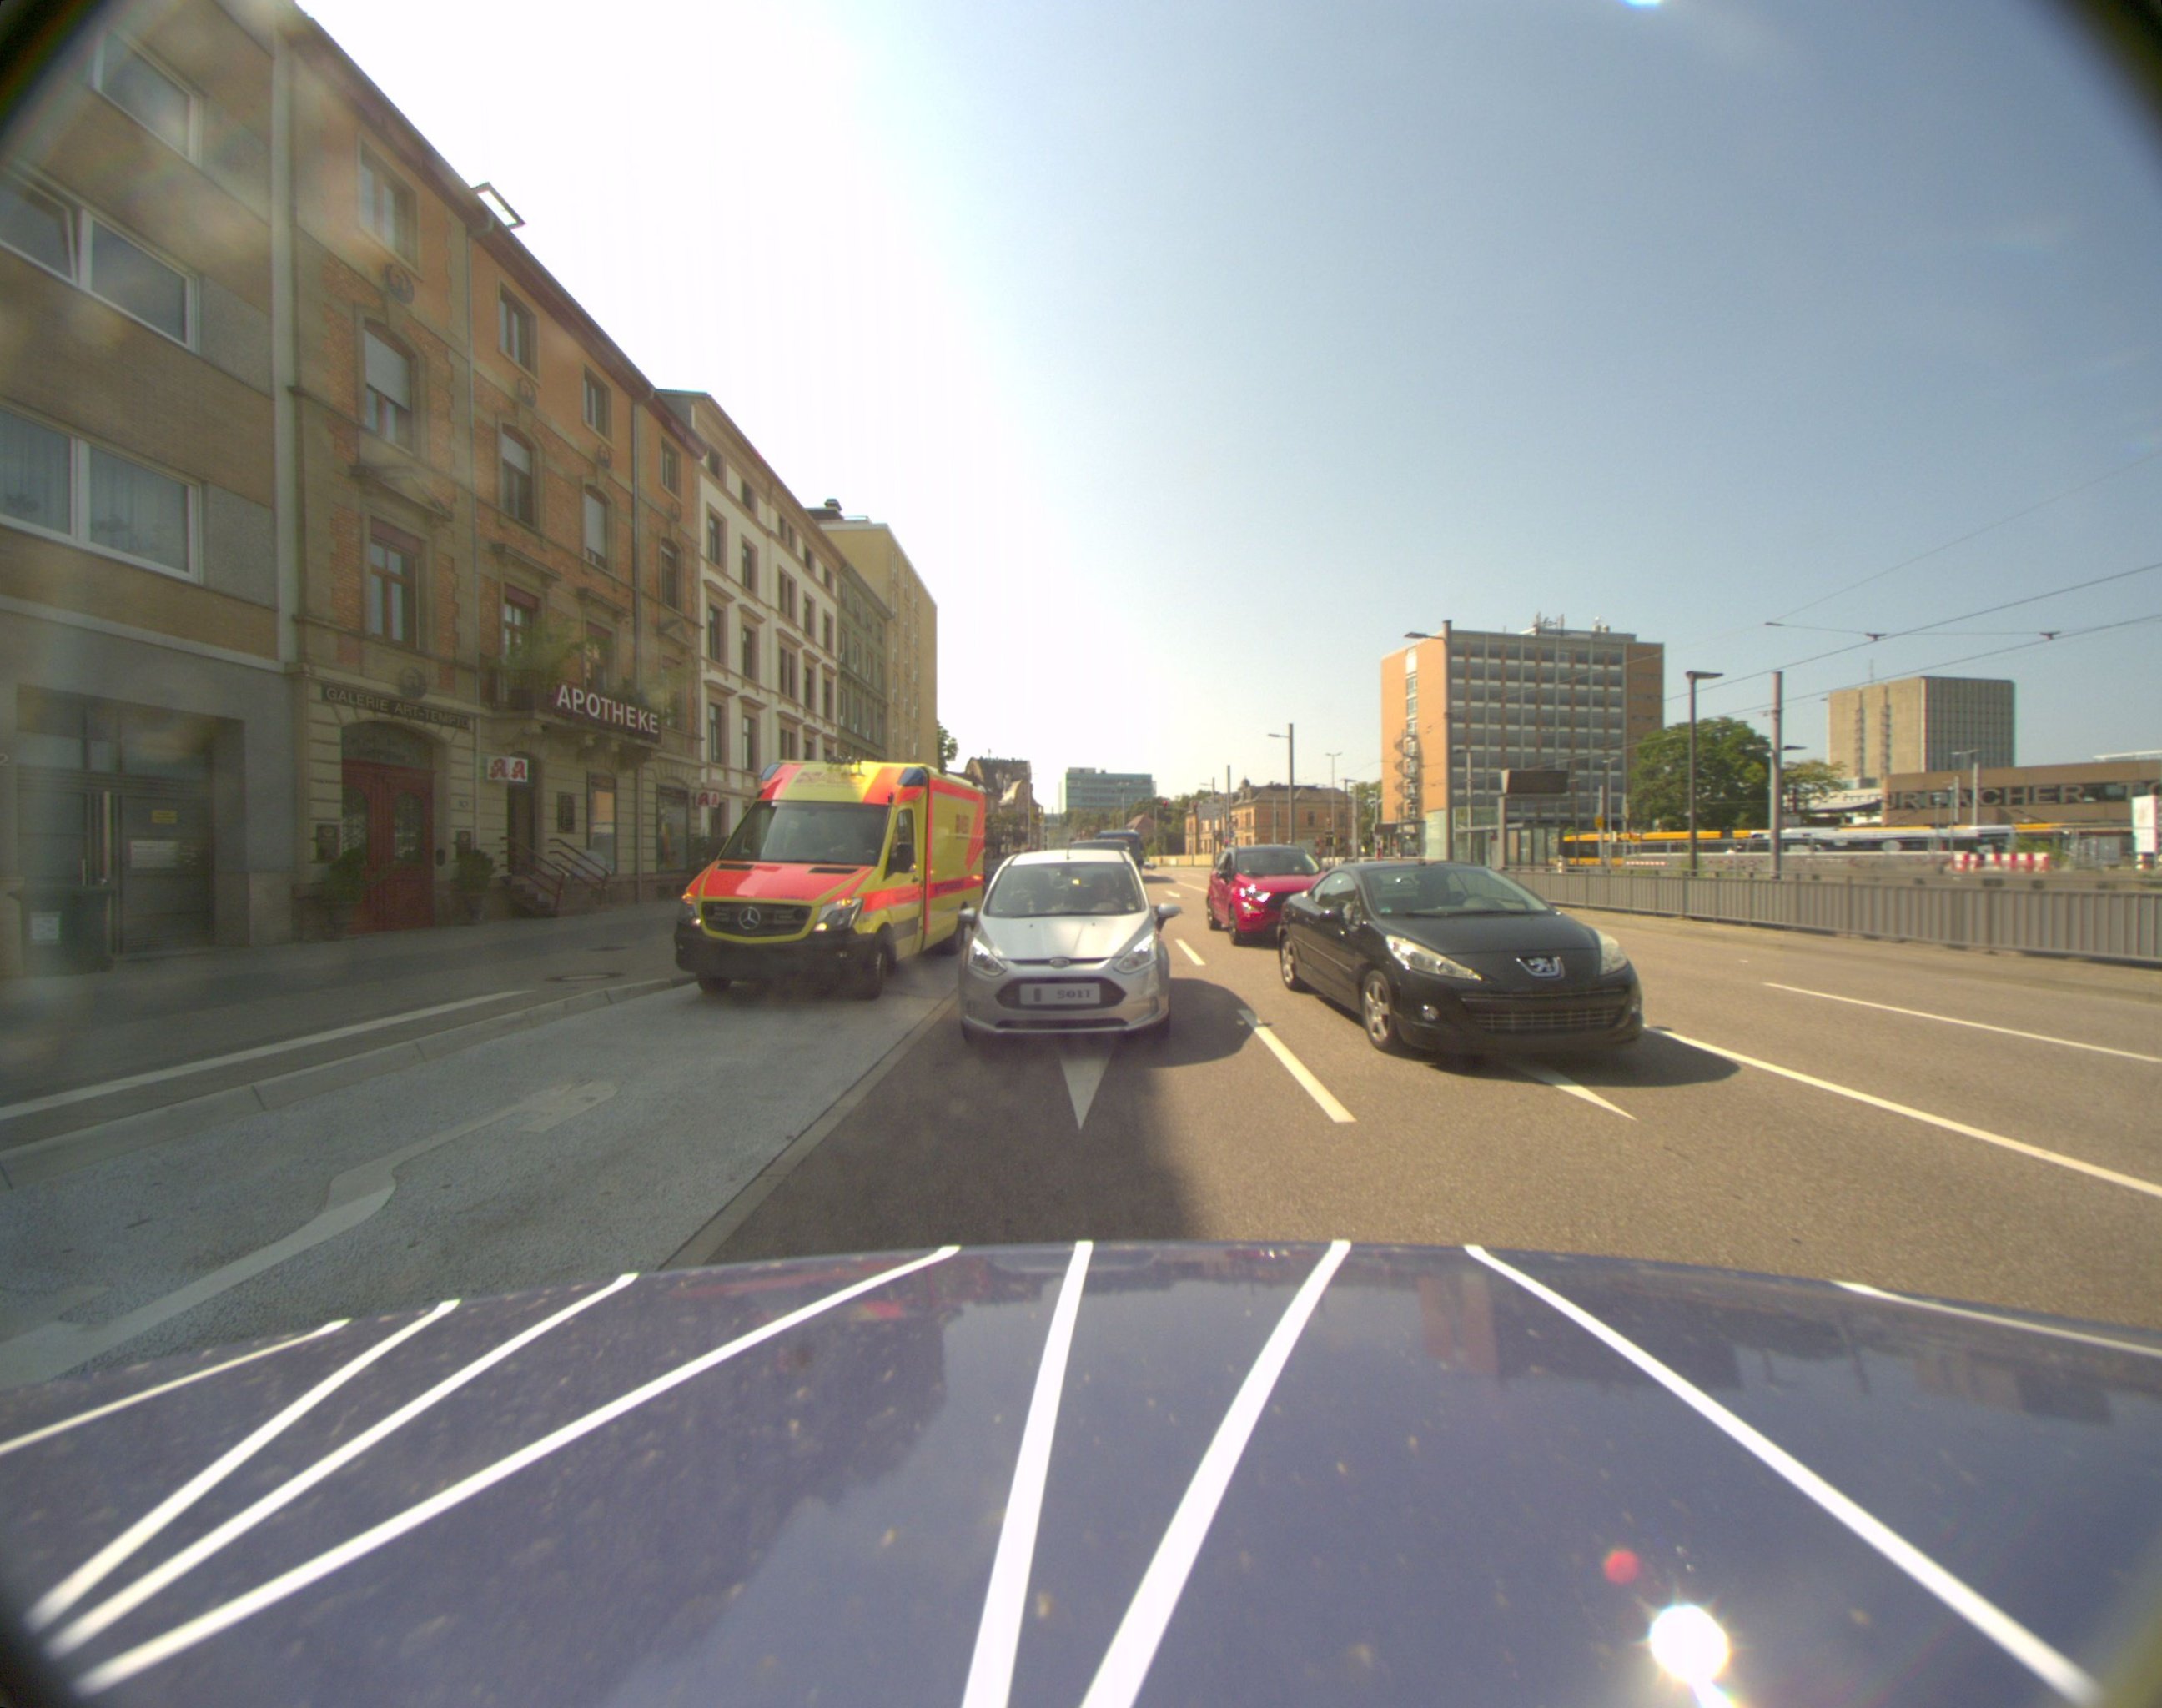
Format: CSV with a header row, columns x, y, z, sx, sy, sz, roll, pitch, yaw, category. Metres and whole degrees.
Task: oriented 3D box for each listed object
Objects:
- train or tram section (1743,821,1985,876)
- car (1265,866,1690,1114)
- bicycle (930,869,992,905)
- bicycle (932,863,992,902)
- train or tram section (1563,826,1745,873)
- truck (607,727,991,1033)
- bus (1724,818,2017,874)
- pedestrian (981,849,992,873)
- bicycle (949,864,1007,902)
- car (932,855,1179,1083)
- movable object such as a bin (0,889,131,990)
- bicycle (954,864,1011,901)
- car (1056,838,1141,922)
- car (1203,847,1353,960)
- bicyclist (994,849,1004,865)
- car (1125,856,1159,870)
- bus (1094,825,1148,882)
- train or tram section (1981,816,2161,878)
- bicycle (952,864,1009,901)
x,y,z,sx,sy,sz,roll,pitch,yaw,category
57.400,-0.367,56.398,2.004,3.743,12.331,-1,0,-45,train or tram section
2.902,0.867,6.571,1.692,1.405,3.801,-2,0,1,car
-3.827,1.044,24.268,1.841,1.050,0.657,-2,0,1,bicycle
-3.881,0.935,24.886,1.841,1.196,0.549,-2,1,1,bicycle
48.685,-0.368,65.143,2.004,3.743,12.331,-1,0,-45,train or tram section
-3.009,0.213,10.185,2.333,2.754,6.340,2,1,4,truck
52.345,-0.393,51.286,3.357,3.275,13.371,-3,0,-45,bus
-6.439,0.448,51.629,0.645,1.619,0.796,1,1,-1,pedestrian
-3.426,0.954,25.285,1.841,1.196,0.434,-2,1,1,bicycle
-0.133,0.830,7.418,1.728,1.579,4.000,-1,0,1,car
-11.970,0.980,8.985,0.648,1.098,0.727,1,0,-24,movable object such as a bin
-3.385,0.965,26.182,1.841,1.212,0.434,-2,1,1,bicycle
0.470,0.611,20.606,1.998,1.953,4.816,-1,0,1,car
3.188,0.715,13.048,1.634,1.611,3.968,-2,0,2,car
-7.764,0.291,71.965,0.721,1.577,1.103,-1,0,2,bicyclist
7.711,1.110,96.047,3.871,1.575,1.691,-2,0,25,car
2.641,-0.068,49.022,2.919,3.119,12.347,-2,0,4,bus
66.116,-0.435,47.648,2.004,3.743,12.331,-1,0,-45,train or tram section
-3.399,0.963,25.721,1.841,1.196,0.434,-2,1,1,bicycle
